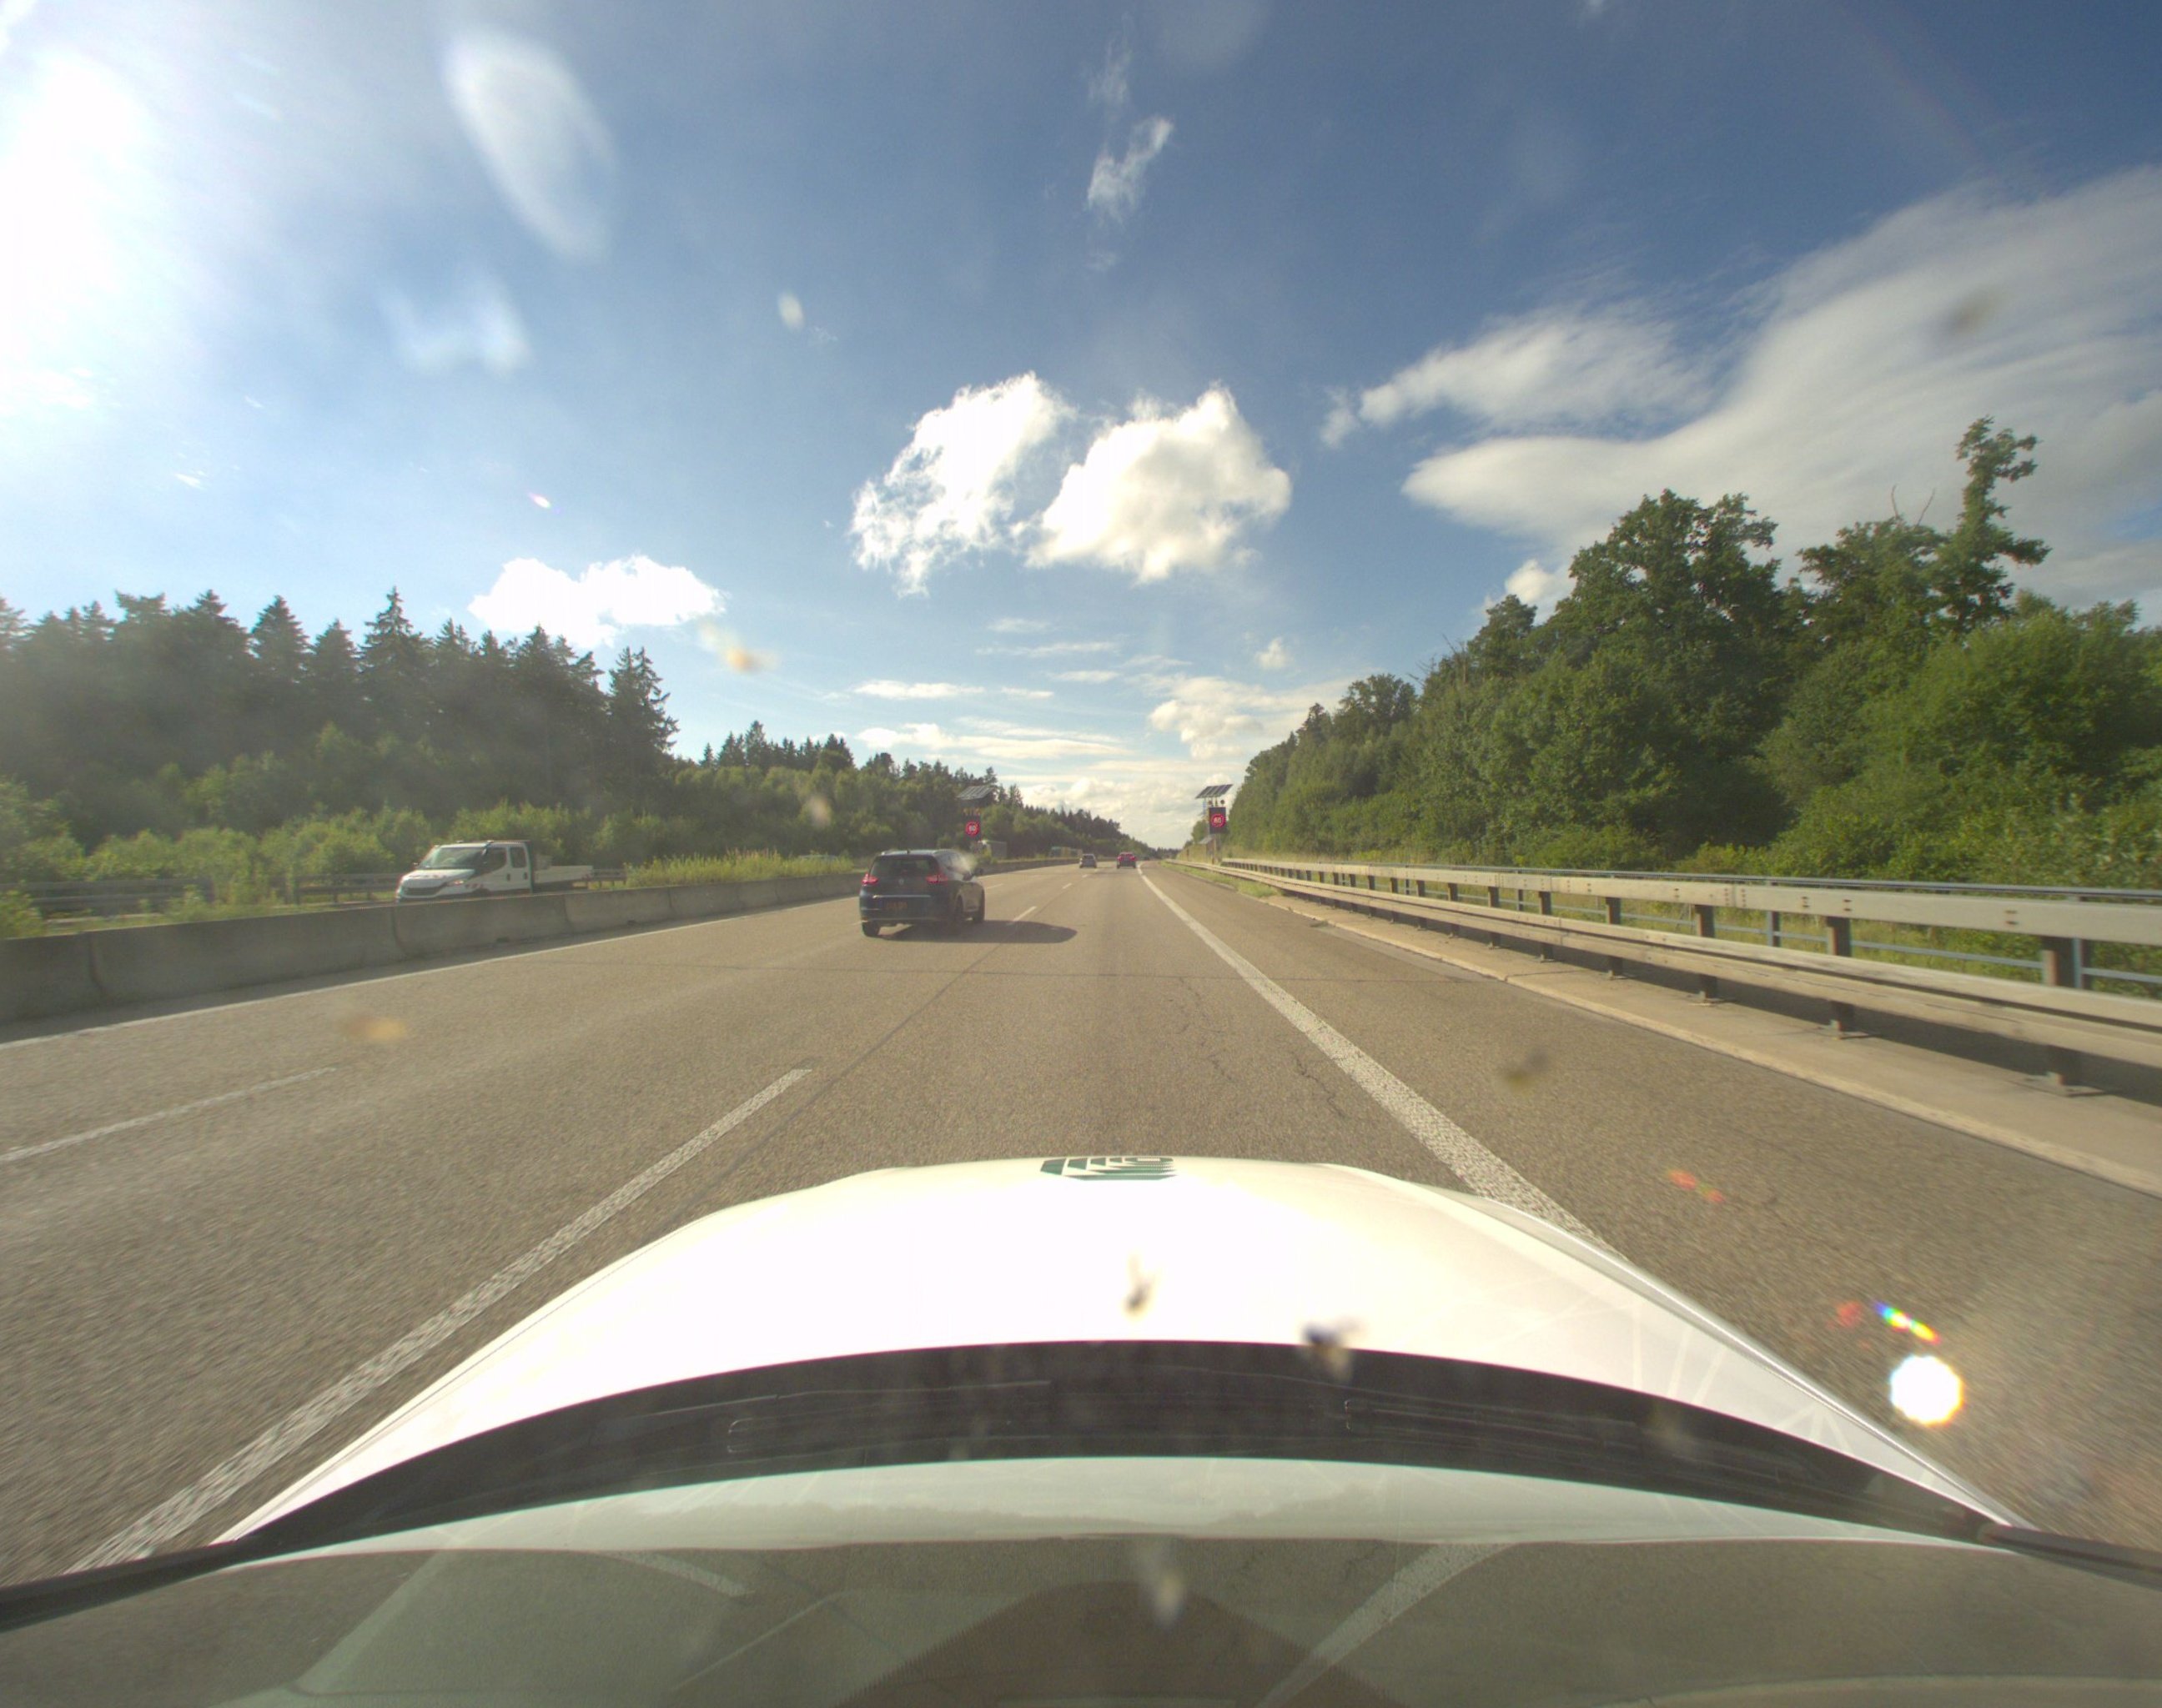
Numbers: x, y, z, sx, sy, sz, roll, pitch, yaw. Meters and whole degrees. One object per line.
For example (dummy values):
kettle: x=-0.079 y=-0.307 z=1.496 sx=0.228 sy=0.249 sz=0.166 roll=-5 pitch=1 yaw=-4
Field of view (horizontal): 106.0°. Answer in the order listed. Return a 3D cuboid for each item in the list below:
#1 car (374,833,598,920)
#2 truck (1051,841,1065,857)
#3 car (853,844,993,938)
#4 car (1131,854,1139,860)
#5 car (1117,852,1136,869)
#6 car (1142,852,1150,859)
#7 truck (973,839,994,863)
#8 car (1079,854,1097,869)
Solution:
car: x=-18.498 y=0.627 z=25.888 sx=2.301 sy=2.318 sz=6.196 roll=2 pitch=0 yaw=2
truck: x=-6.079 y=-1.191 z=213.572 sx=2.636 sy=4.086 sz=6.427 roll=-1 pitch=0 yaw=6
car: x=-3.156 y=0.671 z=17.280 sx=1.986 sy=1.707 sz=4.530 roll=0 pitch=0 yaw=1
car: x=14.957 y=0.903 z=224.944 sx=1.863 sy=1.497 sz=3.888 roll=-1 pitch=1 yaw=7
car: x=4.702 y=0.658 z=83.761 sx=1.866 sy=1.675 sz=3.894 roll=-1 pitch=1 yaw=3
car: x=17.169 y=0.441 z=214.689 sx=1.805 sy=1.706 sz=4.003 roll=-1 pitch=1 yaw=3
truck: x=-15.227 y=-0.479 z=127.693 sx=2.269 sy=3.728 sz=5.538 roll=-1 pitch=0 yaw=4
car: x=0.824 y=0.803 z=89.208 sx=1.867 sy=1.497 sz=3.881 roll=-1 pitch=1 yaw=1
